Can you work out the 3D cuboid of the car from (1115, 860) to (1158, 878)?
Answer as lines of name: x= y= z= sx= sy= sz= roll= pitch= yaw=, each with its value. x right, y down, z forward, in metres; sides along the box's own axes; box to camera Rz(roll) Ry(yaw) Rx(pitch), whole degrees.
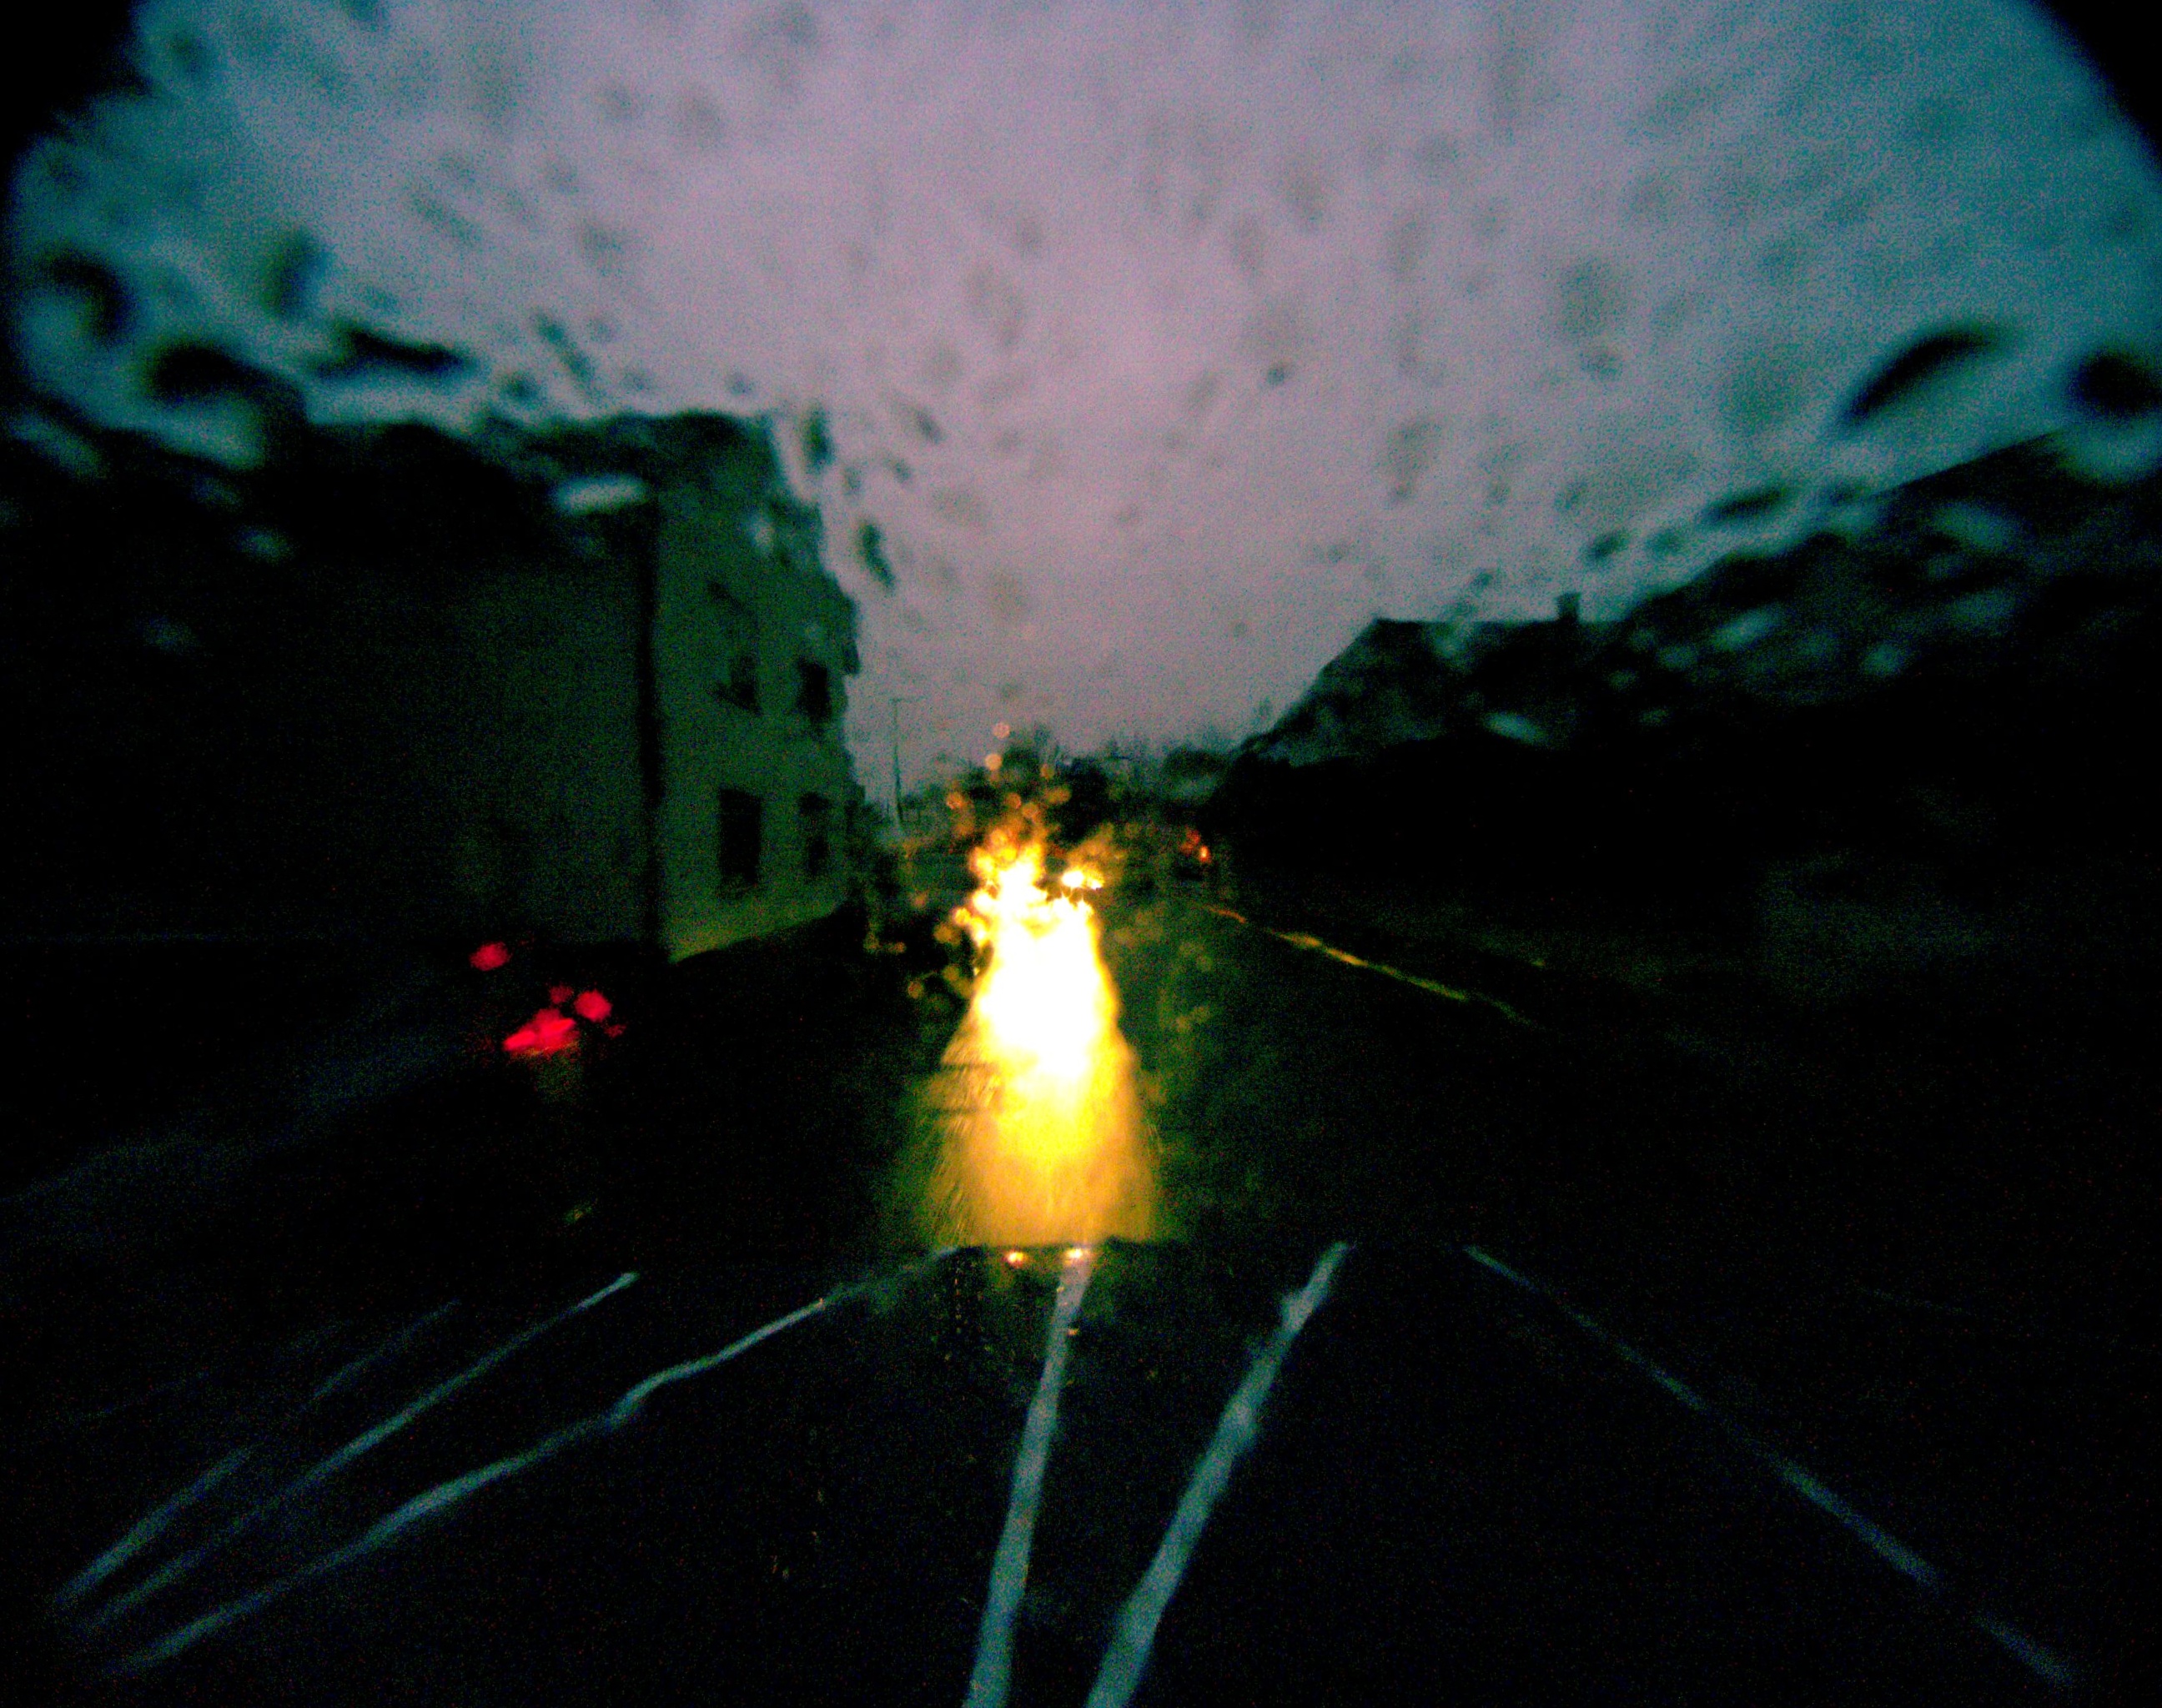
car: x=5.462 y=1.488 z=74.495 sx=3.993 sy=1.623 sz=1.636 roll=-1 pitch=0 yaw=14

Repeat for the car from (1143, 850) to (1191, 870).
car: x=6.935 y=0.476 z=61.034 sx=3.478 sy=1.401 sz=1.612 roll=-2 pitch=0 yaw=19

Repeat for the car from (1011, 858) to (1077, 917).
car: x=-1.075 y=0.913 z=22.378 sx=1.732 sy=1.475 sz=3.603 roll=-3 pitch=0 yaw=-2

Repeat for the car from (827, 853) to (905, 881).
car: x=-14.951 y=0.881 z=53.042 sx=4.998 sy=1.878 sz=1.935 roll=1 pitch=-1 yaw=-9

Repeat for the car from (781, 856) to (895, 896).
car: x=-9.318 y=0.827 z=29.395 sx=3.912 sy=1.465 sz=1.750 roll=0 pitch=0 yaw=-6

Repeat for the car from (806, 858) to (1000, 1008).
car: x=-2.304 y=0.929 z=11.036 sx=1.852 sy=1.627 sz=4.334 roll=-2 pitch=0 yaw=-2

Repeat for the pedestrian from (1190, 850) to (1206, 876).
pedestrian: x=7.724 y=0.587 z=50.135 sx=0.882 sy=1.724 sz=0.955 roll=-2 pitch=0 yaw=-1

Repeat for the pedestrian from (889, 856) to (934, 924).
pedestrian: x=-4.244 y=0.881 z=19.069 sx=0.869 sy=1.657 sz=0.992 roll=2 pitch=0 yaw=-1

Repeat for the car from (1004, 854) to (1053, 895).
car: x=-2.374 y=0.841 z=33.485 sx=1.924 sy=1.608 sz=3.866 roll=-3 pitch=0 yaw=-6

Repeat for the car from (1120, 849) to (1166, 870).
car: x=5.428 y=0.475 z=66.389 sx=3.627 sy=1.602 sz=1.612 roll=-2 pitch=0 yaw=17

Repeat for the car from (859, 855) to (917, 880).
car: x=-14.168 y=0.977 z=55.998 sx=4.057 sy=1.832 sz=1.861 roll=1 pitch=0 yaw=-14

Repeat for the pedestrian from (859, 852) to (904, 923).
pedestrian: x=-4.976 y=0.822 z=19.022 sx=0.850 sy=1.723 sz=0.971 roll=2 pitch=0 yaw=-1
